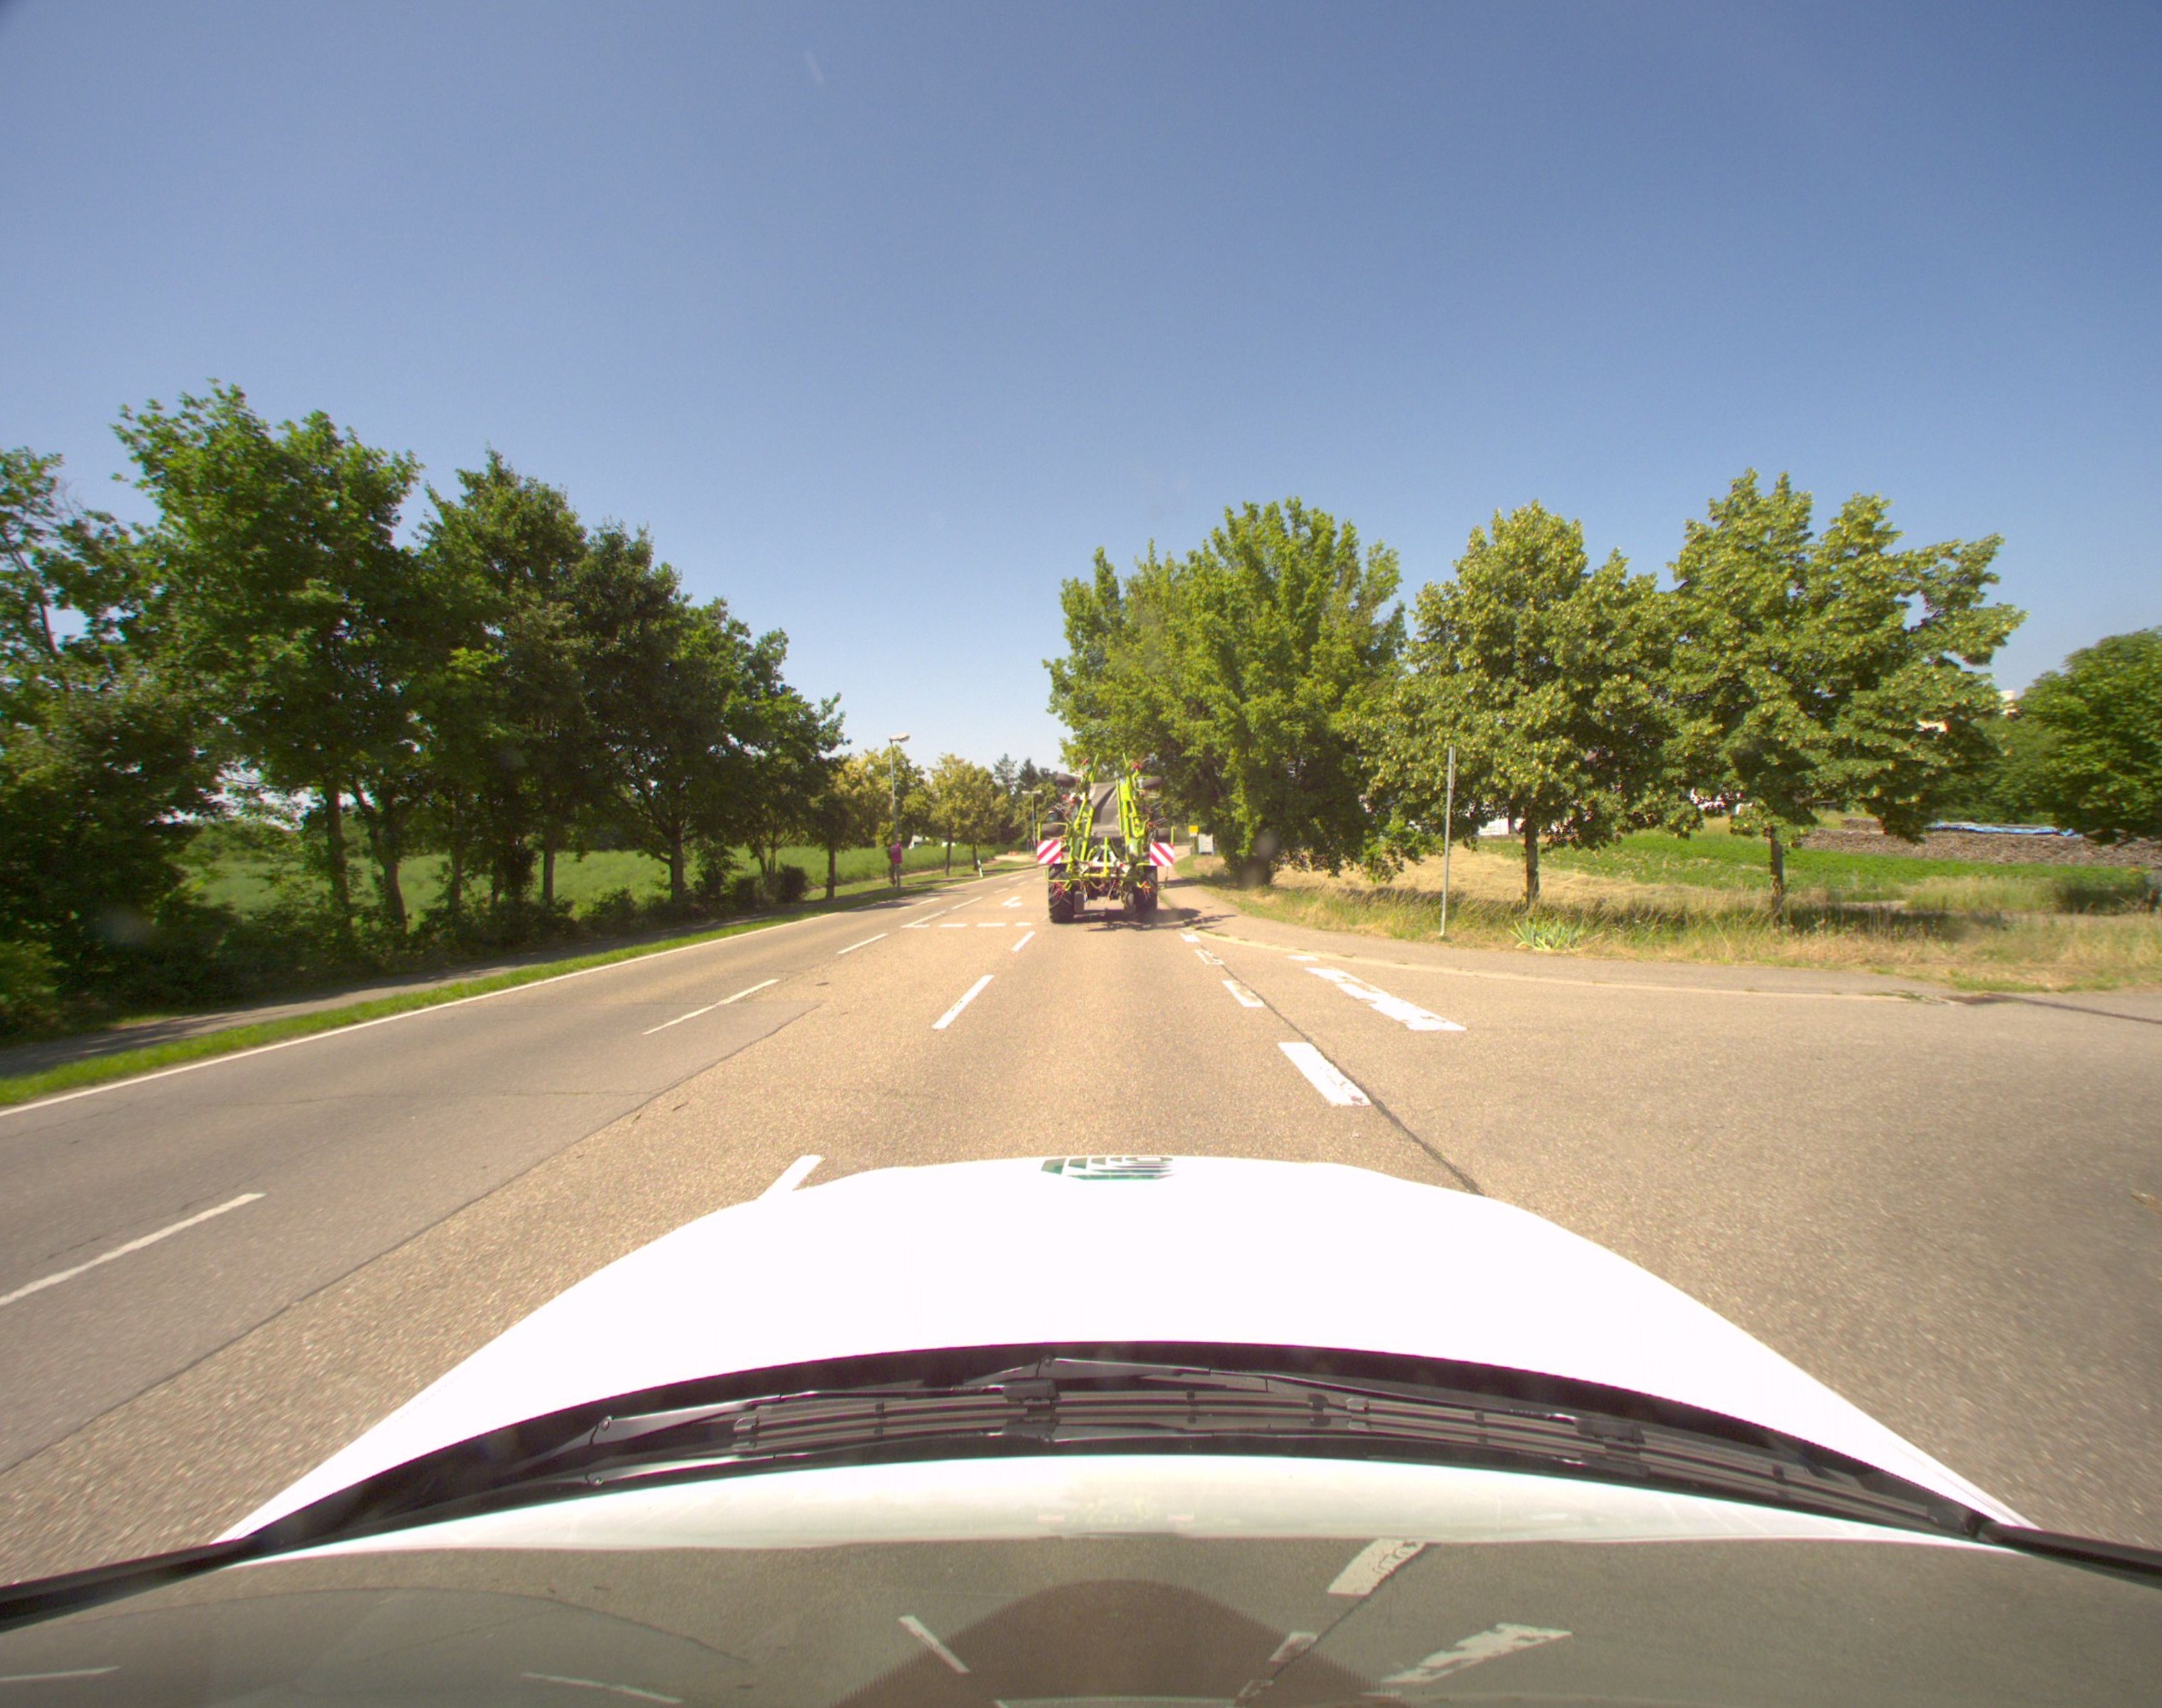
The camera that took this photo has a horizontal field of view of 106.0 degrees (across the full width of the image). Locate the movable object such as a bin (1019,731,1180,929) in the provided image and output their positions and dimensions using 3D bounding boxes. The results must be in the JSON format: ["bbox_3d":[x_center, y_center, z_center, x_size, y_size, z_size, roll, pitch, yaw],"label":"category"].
[{"bbox_3d":[0.445,-0.474,19.690,2.843,3.541,9.703,-2,0,1],"label":"movable object such as a bin"}]
